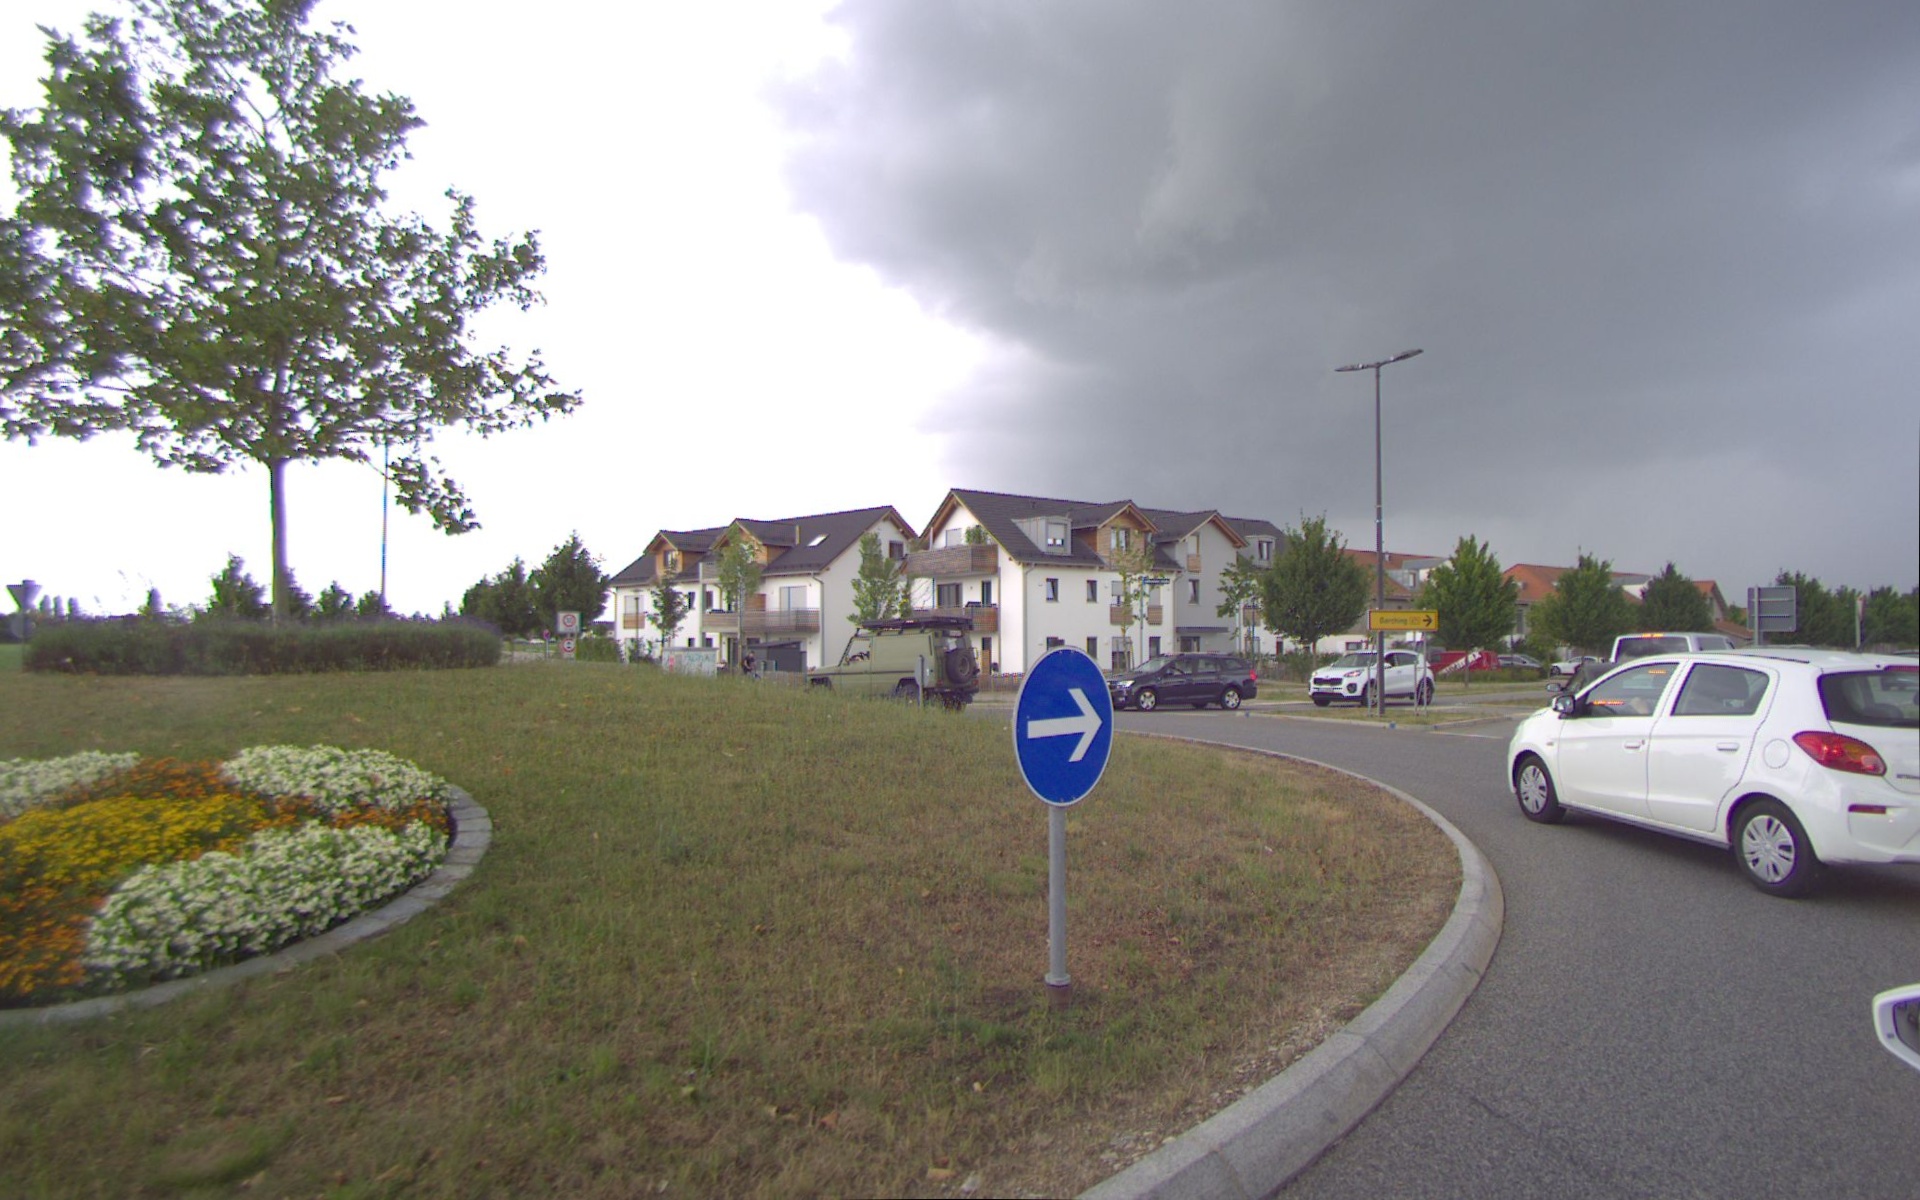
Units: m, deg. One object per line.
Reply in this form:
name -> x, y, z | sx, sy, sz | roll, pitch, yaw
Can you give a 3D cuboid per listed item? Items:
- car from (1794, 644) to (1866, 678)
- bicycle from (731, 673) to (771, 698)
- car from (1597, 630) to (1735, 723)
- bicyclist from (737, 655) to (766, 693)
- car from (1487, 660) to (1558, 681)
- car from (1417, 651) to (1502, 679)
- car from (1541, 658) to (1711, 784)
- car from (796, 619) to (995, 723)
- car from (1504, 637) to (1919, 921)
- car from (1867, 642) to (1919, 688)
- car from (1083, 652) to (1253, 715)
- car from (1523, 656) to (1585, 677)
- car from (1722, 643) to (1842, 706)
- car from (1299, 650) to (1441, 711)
car -> 39.226, 2.737, 45.260 | 3.769, 1.453, 1.763 | 2, -4, -38
bicycle -> -8.198, 3.351, 39.353 | 1.684, 0.958, 0.496 | -3, -4, 32
car -> 16.518, 1.750, 23.420 | 1.850, 1.958, 3.975 | -7, -7, 44
bicyclist -> -8.183, 2.890, 39.372 | 0.854, 1.465, 0.723 | -3, -3, 33
car -> 38.784, 4.871, 69.295 | 1.826, 1.332, 3.885 | 2, -3, -38
car -> 31.915, 4.139, 64.296 | 1.979, 1.702, 4.505 | 2, -3, -33
car -> 9.487, 1.614, 14.533 | 1.758, 1.410, 4.124 | 2, -1, 31
car -> -1.575, 1.632, 24.010 | 4.496, 2.283, 1.994 | -1, -3, 35
car -> 5.622, 1.059, 7.206 | 1.601, 1.539, 3.400 | 1, -2, 0
car -> 34.973, 2.369, 36.873 | 3.963, 1.639, 1.764 | 2, -4, -37
car -> 5.606, 2.206, 27.123 | 4.214, 1.584, 1.766 | 1, -3, -20
car -> 45.079, 5.010, 76.316 | 1.672, 1.501, 3.700 | 2, -2, -39
car -> 23.701, 2.093, 28.927 | 3.962, 1.639, 1.764 | 2, -1, -37
car -> 12.193, 2.334, 29.822 | 4.402, 1.647, 1.699 | 2, -3, -33
